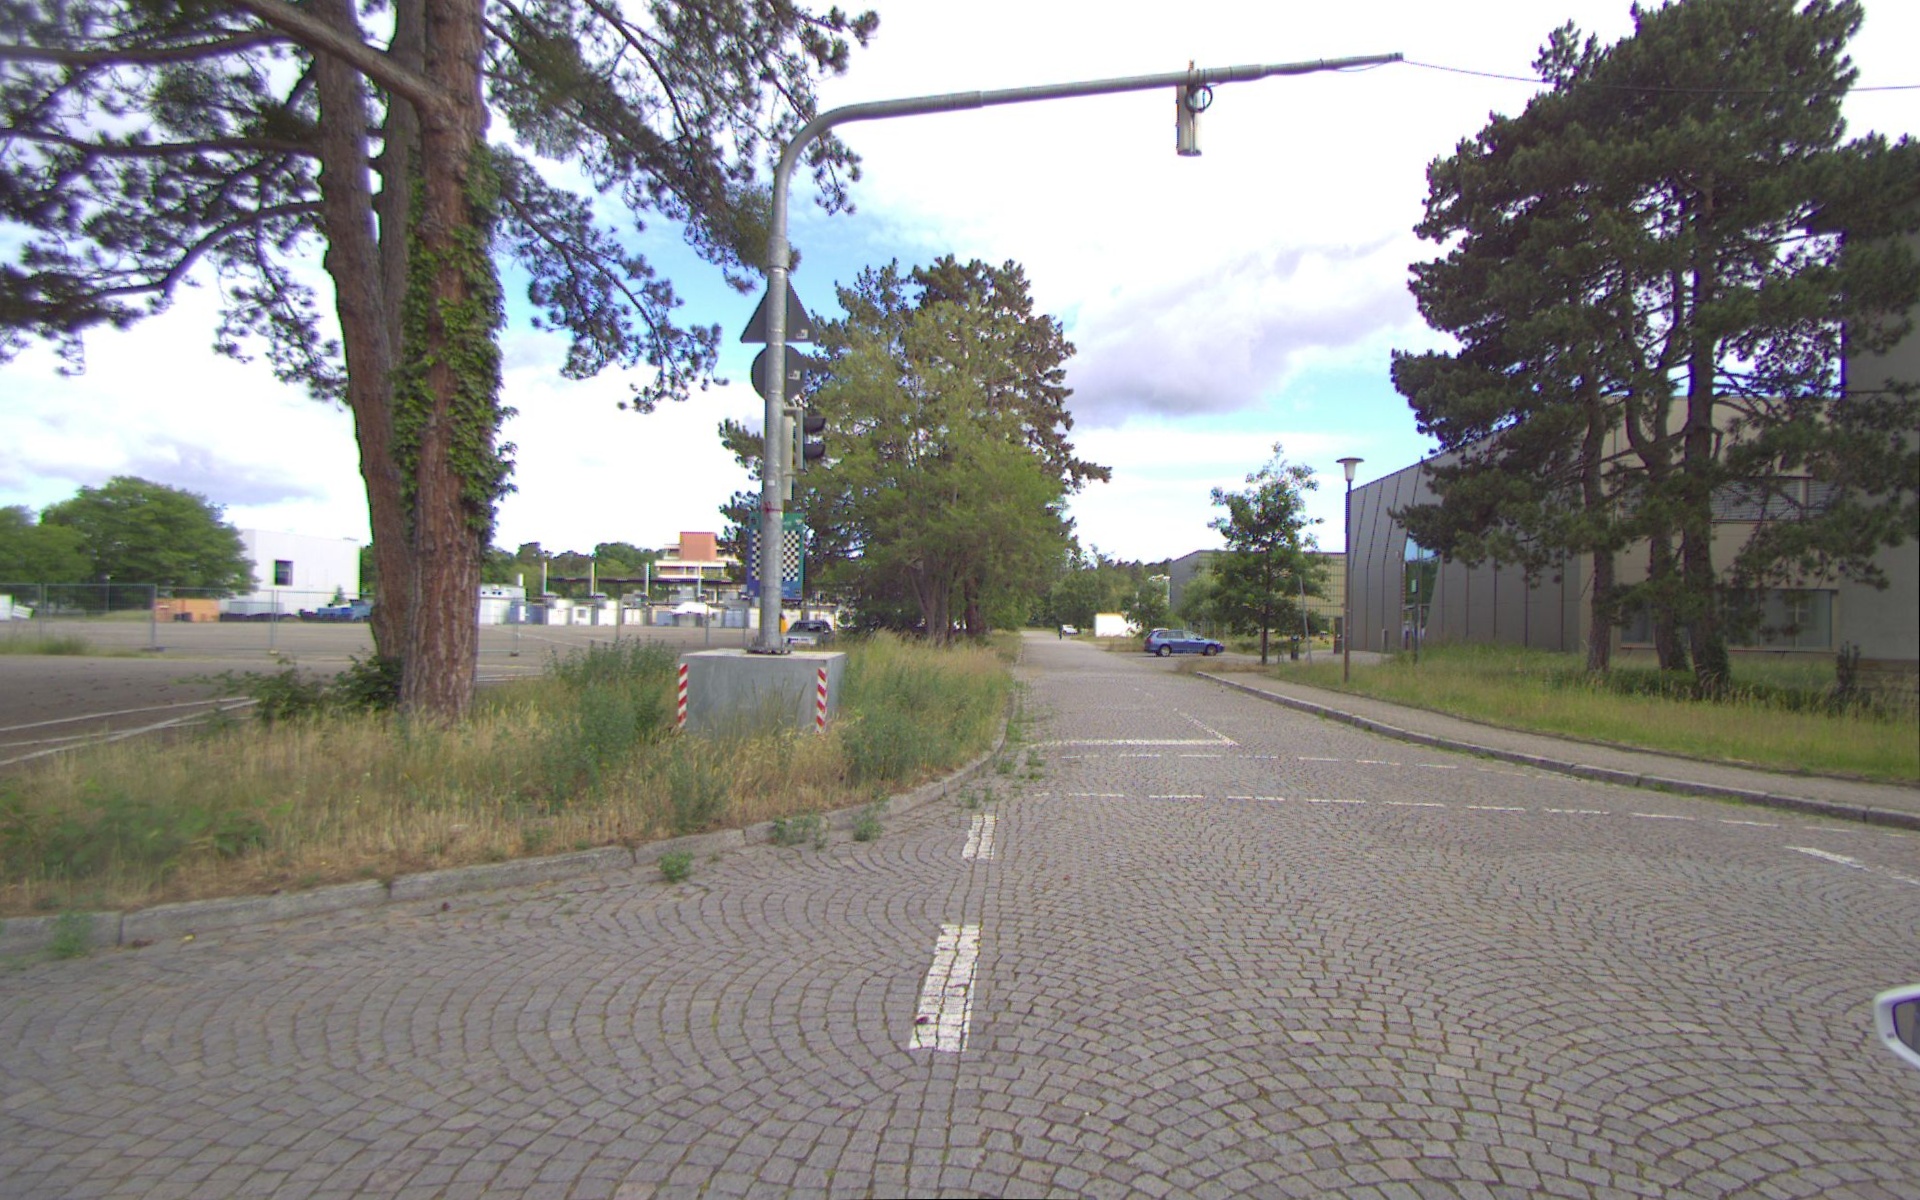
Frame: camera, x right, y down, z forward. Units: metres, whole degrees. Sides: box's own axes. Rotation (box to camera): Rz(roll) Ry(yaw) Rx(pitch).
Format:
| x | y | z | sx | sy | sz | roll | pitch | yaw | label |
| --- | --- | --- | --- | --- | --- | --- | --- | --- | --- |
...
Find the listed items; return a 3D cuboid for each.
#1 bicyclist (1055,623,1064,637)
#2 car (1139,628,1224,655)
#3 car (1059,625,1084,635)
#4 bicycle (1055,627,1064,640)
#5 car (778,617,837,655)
| x | y | z | sx | sy | sz | roll | pitch | yaw | label |
| --- | --- | --- | --- | --- | --- | --- | --- | --- | --- |
| 10.887 | 3.260 | 109.434 | 0.882 | 1.562 | 0.868 | 2 | 0 | 2 | bicyclist |
| 12.537 | 2.335 | 56.948 | 4.406 | 1.482 | 1.935 | 0 | -1 | 1 | car |
| 19.560 | 5.237 | 176.590 | 4.248 | 1.570 | 2.001 | 1 | -1 | 5 | car |
| 10.875 | 3.654 | 109.448 | 0.810 | 1.395 | 2.043 | 2 | 0 | 3 | bicycle |
| -6.529 | 1.504 | 43.354 | 1.701 | 1.451 | 4.163 | 1 | 0 | 3 | car |
